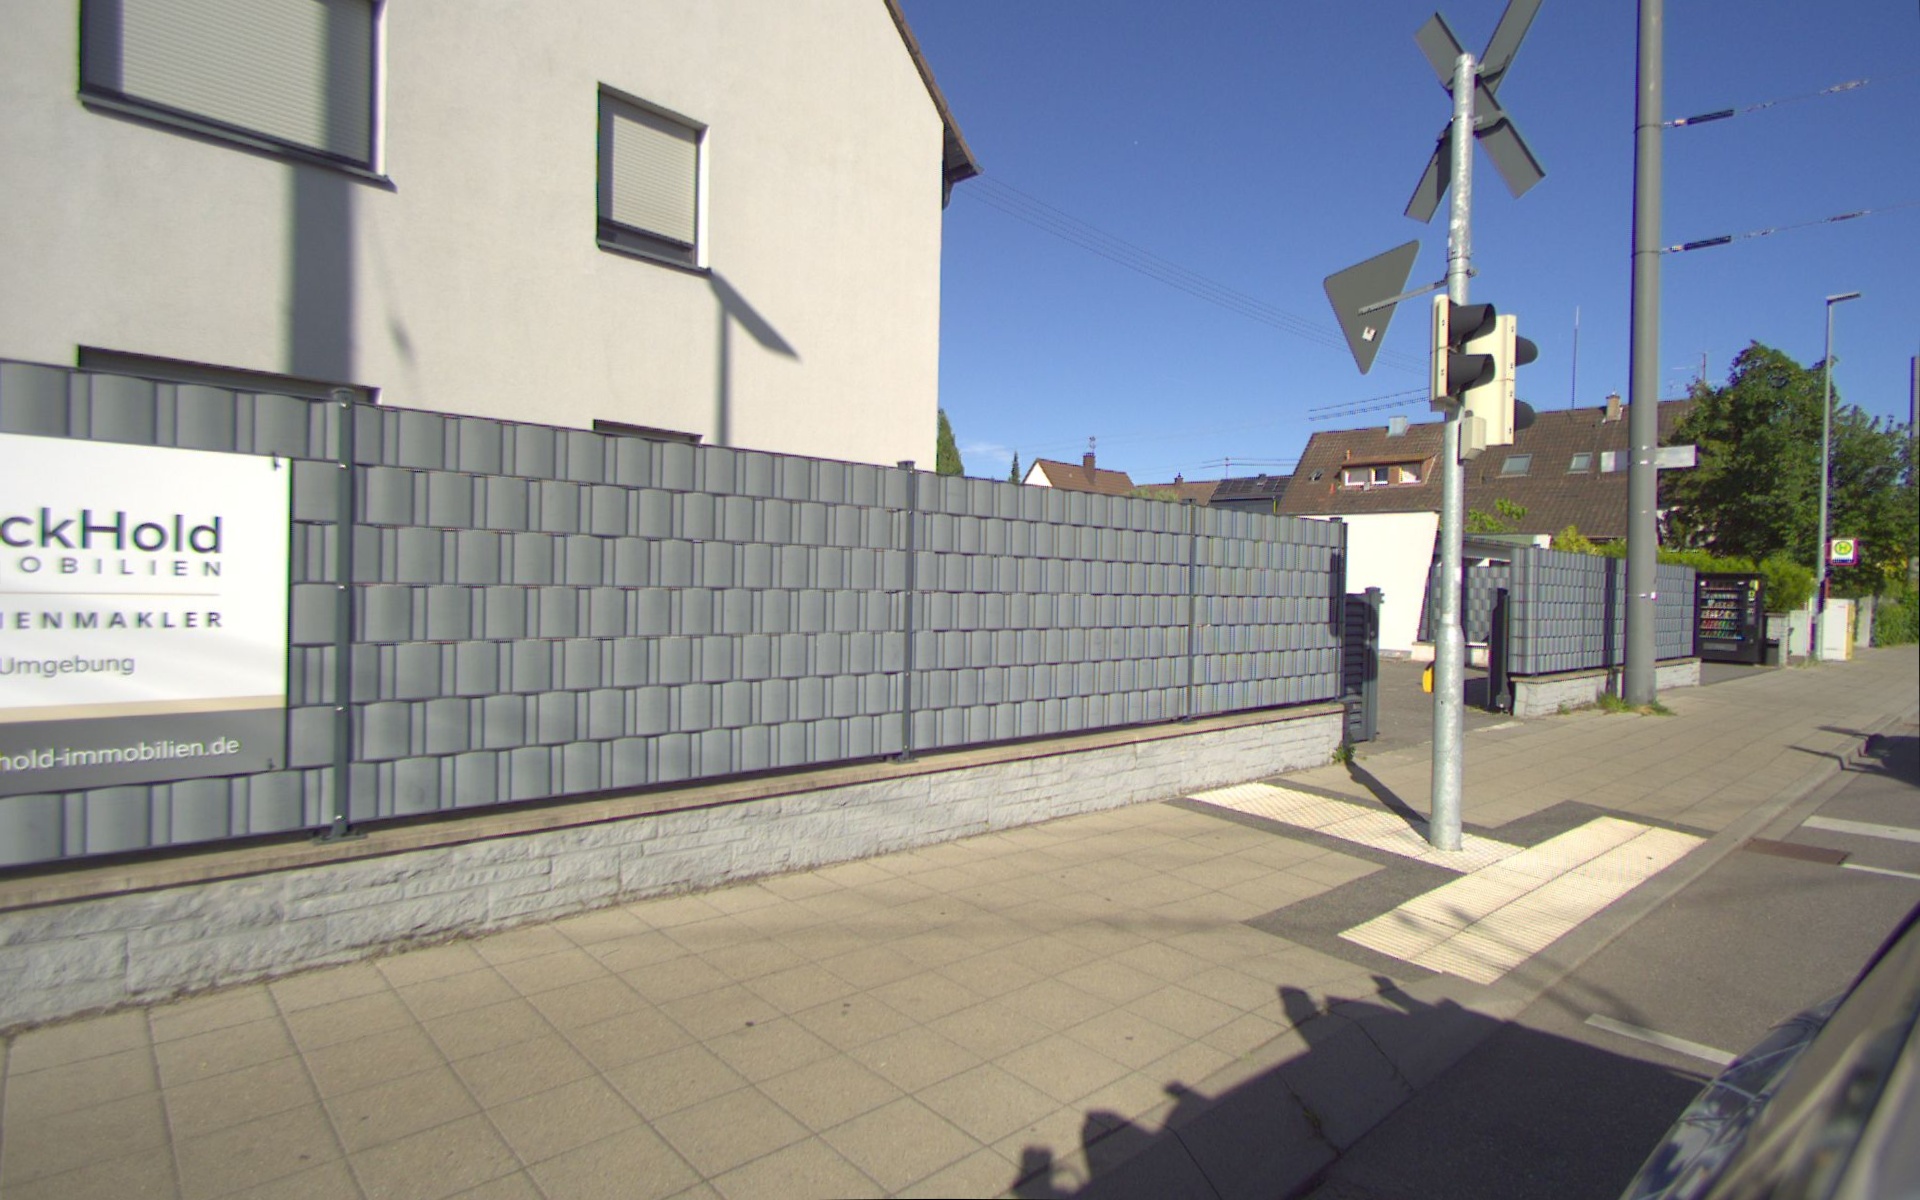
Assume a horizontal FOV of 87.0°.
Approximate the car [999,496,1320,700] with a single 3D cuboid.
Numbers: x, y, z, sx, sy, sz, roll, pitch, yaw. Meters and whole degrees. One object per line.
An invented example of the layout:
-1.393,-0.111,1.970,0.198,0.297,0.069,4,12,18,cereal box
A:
2.658,-0.105,14.881,1.959,2.461,5.000,-1,2,-27,car
